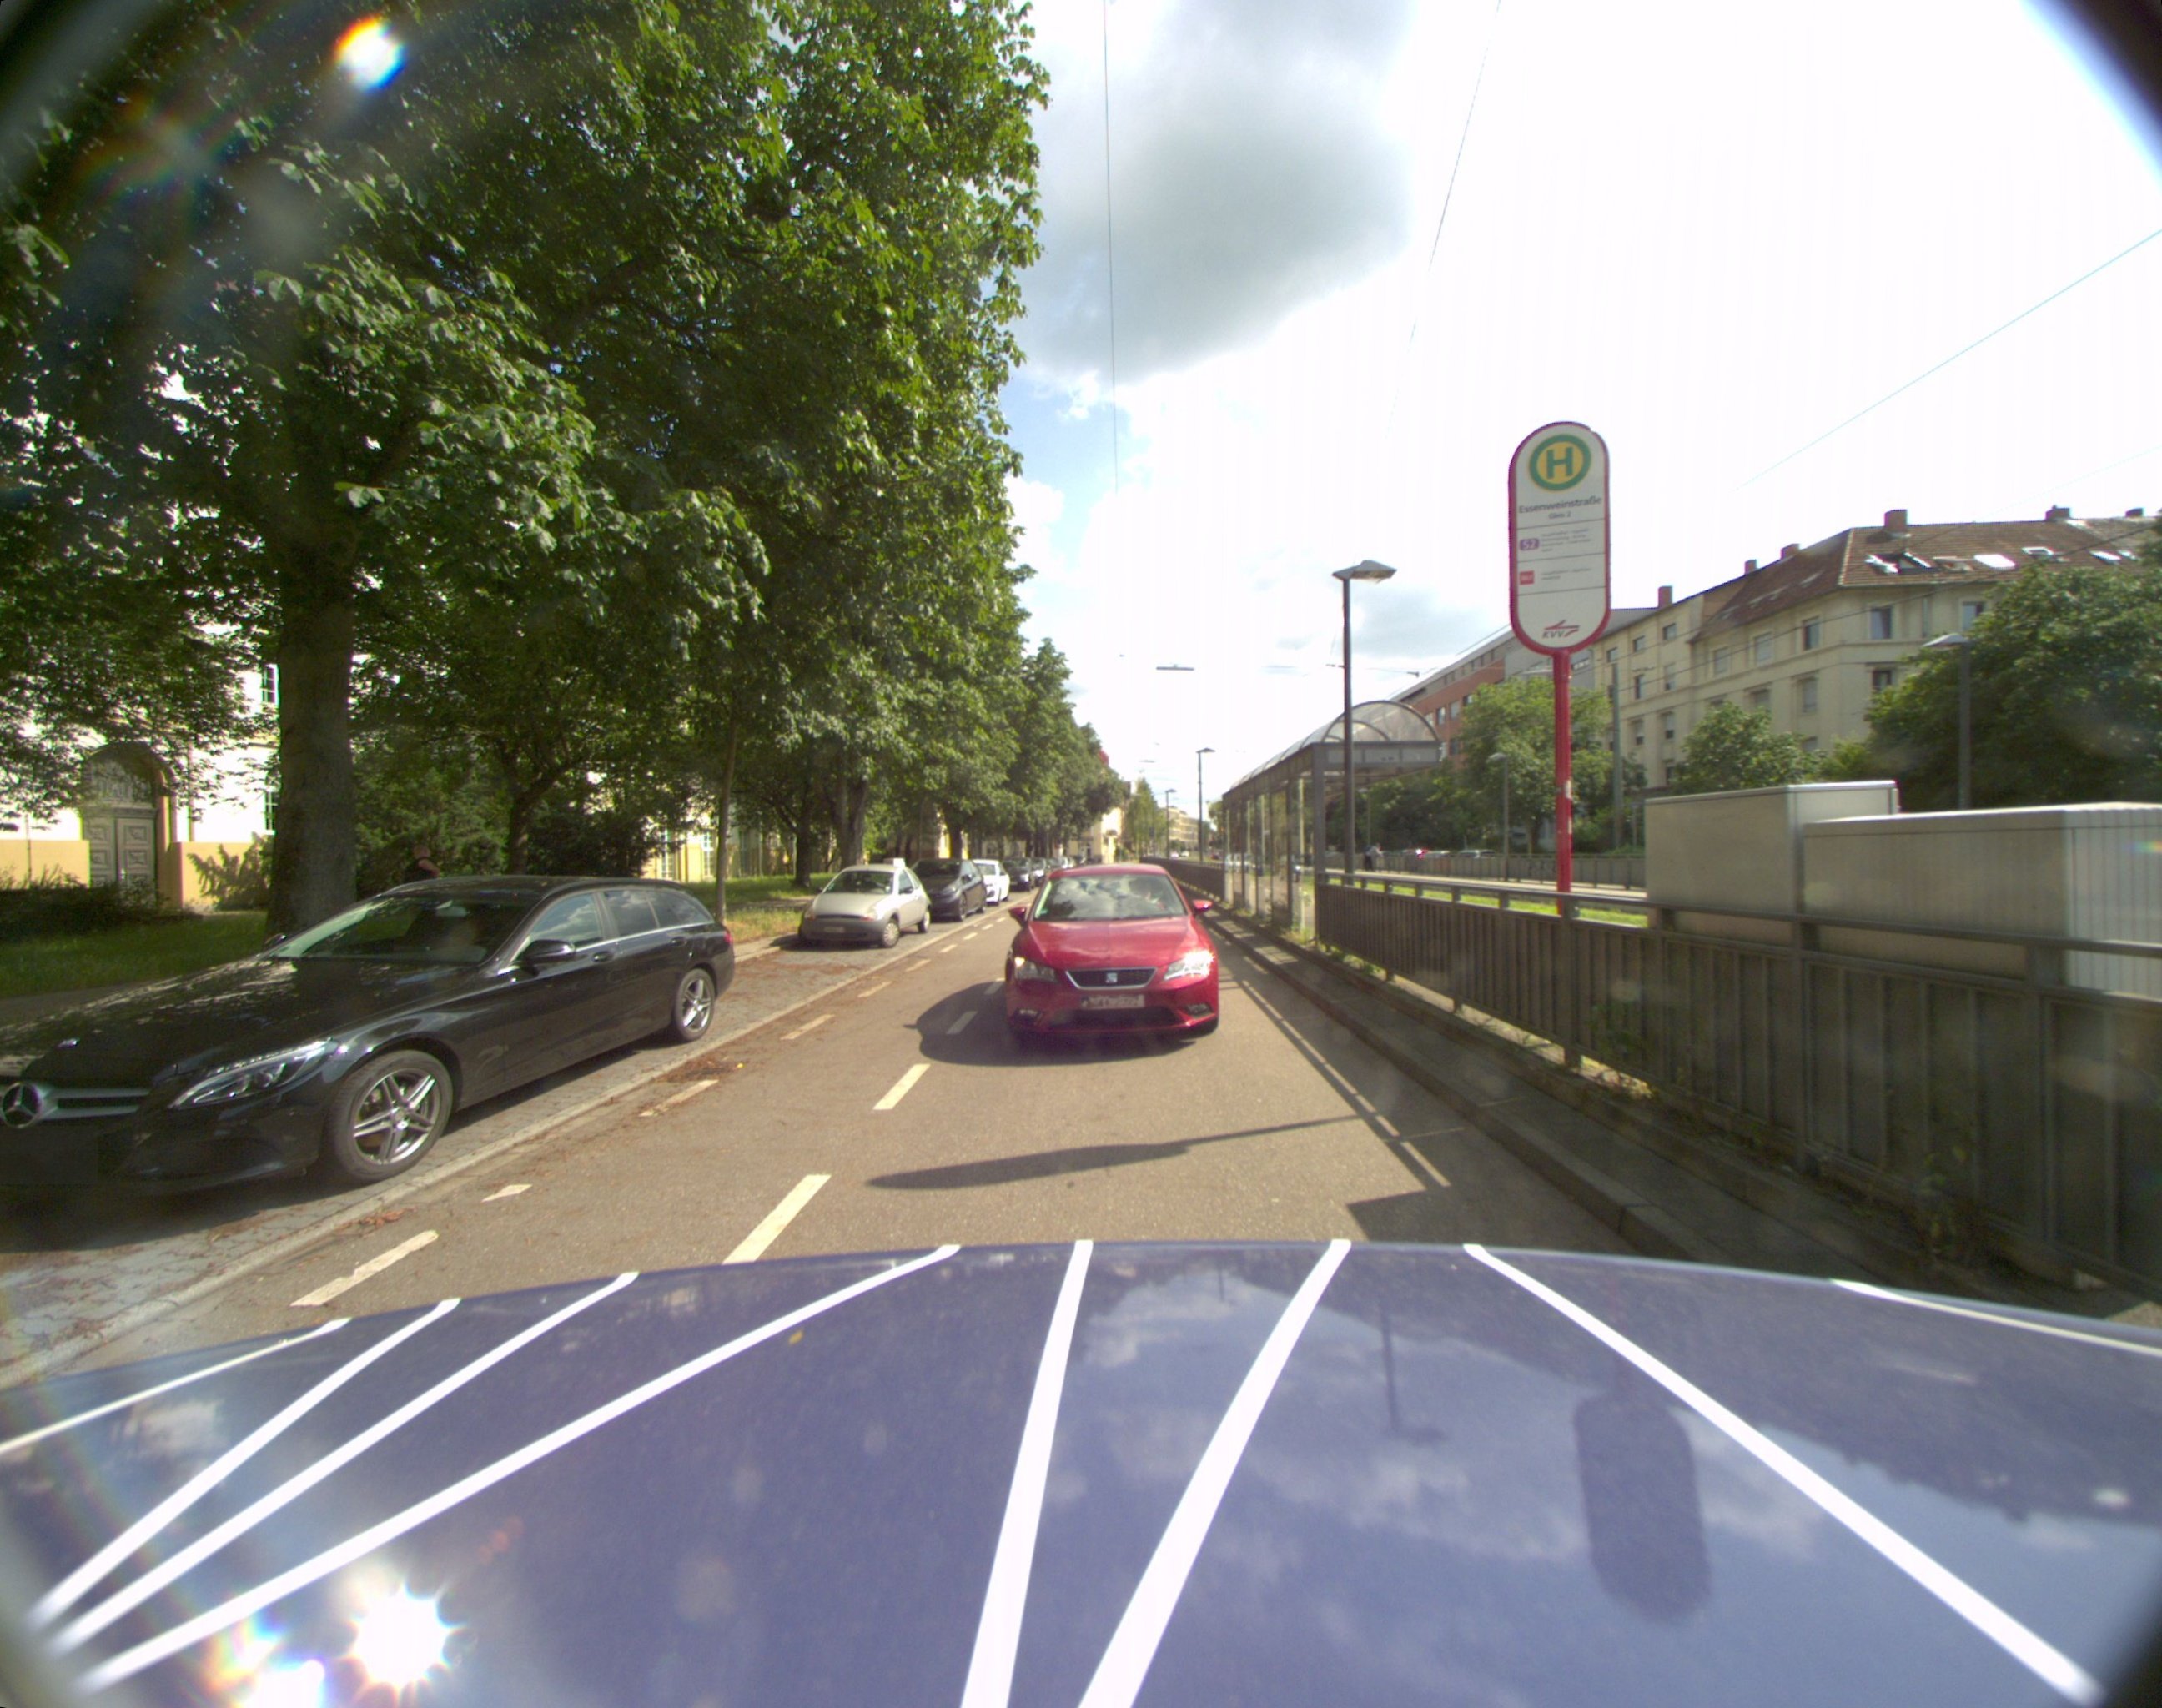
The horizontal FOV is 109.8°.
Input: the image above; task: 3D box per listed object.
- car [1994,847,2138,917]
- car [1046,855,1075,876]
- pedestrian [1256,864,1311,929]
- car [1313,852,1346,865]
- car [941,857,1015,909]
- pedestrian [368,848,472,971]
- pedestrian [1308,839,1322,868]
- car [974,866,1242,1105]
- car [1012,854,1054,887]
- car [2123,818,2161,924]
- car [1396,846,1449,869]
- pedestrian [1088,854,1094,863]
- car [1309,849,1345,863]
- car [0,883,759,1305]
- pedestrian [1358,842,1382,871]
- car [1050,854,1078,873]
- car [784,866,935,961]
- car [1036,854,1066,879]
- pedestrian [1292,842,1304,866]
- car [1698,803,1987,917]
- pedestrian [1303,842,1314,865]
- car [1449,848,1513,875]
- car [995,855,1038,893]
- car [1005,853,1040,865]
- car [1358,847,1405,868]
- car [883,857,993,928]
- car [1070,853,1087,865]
[{"bbox_3d":[23.521,0.601,18.126,4.006,1.477,1.606,-1,0,-30],"label":"car"},{"bbox_3d":[-1.479,0.823,56.830,1.639,1.423,4.016,2,0,5],"label":"car"},{"bbox_3d":[3.461,0.710,12.956,0.662,1.066,0.725,-1,0,37],"label":"pedestrian"},{"bbox_3d":[26.288,0.431,80.310,3.258,1.296,1.600,-1,0,-32],"label":"car"},{"bbox_3d":[-3.349,0.889,25.401,1.840,1.515,4.253,1,0,0],"label":"car"},{"bbox_3d":[-9.404,0.770,10.835,0.745,1.686,0.767,-1,1,9],"label":"pedestrian"},{"bbox_3d":[15.446,-0.067,50.259,0.752,1.881,0.639,-1,3,5],"label":"pedestrian"},{"bbox_3d":[0.277,0.948,7.238,1.790,1.499,4.000,-2,0,3],"label":"car"},{"bbox_3d":[-2.426,0.817,39.310,1.694,1.552,4.308,2,0,3],"label":"car"},{"bbox_3d":[22.930,0.291,15.130,3.957,2.058,2.045,-1,0,-28],"label":"car"},{"bbox_3d":[25.521,0.241,56.715,4.144,1.630,1.829,-1,1,-37],"label":"car"},{"bbox_3d":[1.527,0.662,112.899,0.804,1.238,0.892,-1,2,5],"label":"pedestrian"},{"bbox_3d":[27.150,0.216,83.871,4.007,1.487,1.647,-1,0,-34],"label":"car"},{"bbox_3d":[-4.347,1.041,5.410,1.922,1.433,4.797,1,0,2],"label":"car"},{"bbox_3d":[15.688,0.145,41.273,0.991,1.569,0.798,-1,1,0],"label":"pedestrian"},{"bbox_3d":[-1.336,0.732,62.038,1.833,1.433,5.050,2,0,3],"label":"car"},{"bbox_3d":[-3.974,0.998,14.232,1.594,1.437,3.598,1,1,3],"label":"car"},{"bbox_3d":[-1.945,0.801,50.900,1.836,1.458,4.829,1,1,-1],"label":"car"},{"bbox_3d":[15.703,-0.021,54.920,0.607,1.744,0.626,0,2,43],"label":"pedestrian"},{"bbox_3d":[17.443,0.119,17.876,1.998,2.262,4.834,2,0,2],"label":"car"},{"bbox_3d":[16.399,-0.032,54.793,0.608,1.665,0.625,-1,1,3],"label":"pedestrian"},{"bbox_3d":[24.797,0.449,47.067,4.161,1.556,1.921,-1,1,-38],"label":"car"},{"bbox_3d":[-2.832,0.851,34.126,1.559,1.453,3.558,2,1,0],"label":"car"},{"bbox_3d":[-8.584,0.712,111.402,4.827,1.646,1.858,-1,2,13],"label":"car"},{"bbox_3d":[25.851,0.293,65.318,4.006,1.520,1.669,-3,0,-34],"label":"car"},{"bbox_3d":[-3.570,0.899,19.804,1.729,1.574,4.678,0,0,3],"label":"car"},{"bbox_3d":[-0.272,0.562,89.268,1.689,1.379,3.924,0,1,3],"label":"car"}]
